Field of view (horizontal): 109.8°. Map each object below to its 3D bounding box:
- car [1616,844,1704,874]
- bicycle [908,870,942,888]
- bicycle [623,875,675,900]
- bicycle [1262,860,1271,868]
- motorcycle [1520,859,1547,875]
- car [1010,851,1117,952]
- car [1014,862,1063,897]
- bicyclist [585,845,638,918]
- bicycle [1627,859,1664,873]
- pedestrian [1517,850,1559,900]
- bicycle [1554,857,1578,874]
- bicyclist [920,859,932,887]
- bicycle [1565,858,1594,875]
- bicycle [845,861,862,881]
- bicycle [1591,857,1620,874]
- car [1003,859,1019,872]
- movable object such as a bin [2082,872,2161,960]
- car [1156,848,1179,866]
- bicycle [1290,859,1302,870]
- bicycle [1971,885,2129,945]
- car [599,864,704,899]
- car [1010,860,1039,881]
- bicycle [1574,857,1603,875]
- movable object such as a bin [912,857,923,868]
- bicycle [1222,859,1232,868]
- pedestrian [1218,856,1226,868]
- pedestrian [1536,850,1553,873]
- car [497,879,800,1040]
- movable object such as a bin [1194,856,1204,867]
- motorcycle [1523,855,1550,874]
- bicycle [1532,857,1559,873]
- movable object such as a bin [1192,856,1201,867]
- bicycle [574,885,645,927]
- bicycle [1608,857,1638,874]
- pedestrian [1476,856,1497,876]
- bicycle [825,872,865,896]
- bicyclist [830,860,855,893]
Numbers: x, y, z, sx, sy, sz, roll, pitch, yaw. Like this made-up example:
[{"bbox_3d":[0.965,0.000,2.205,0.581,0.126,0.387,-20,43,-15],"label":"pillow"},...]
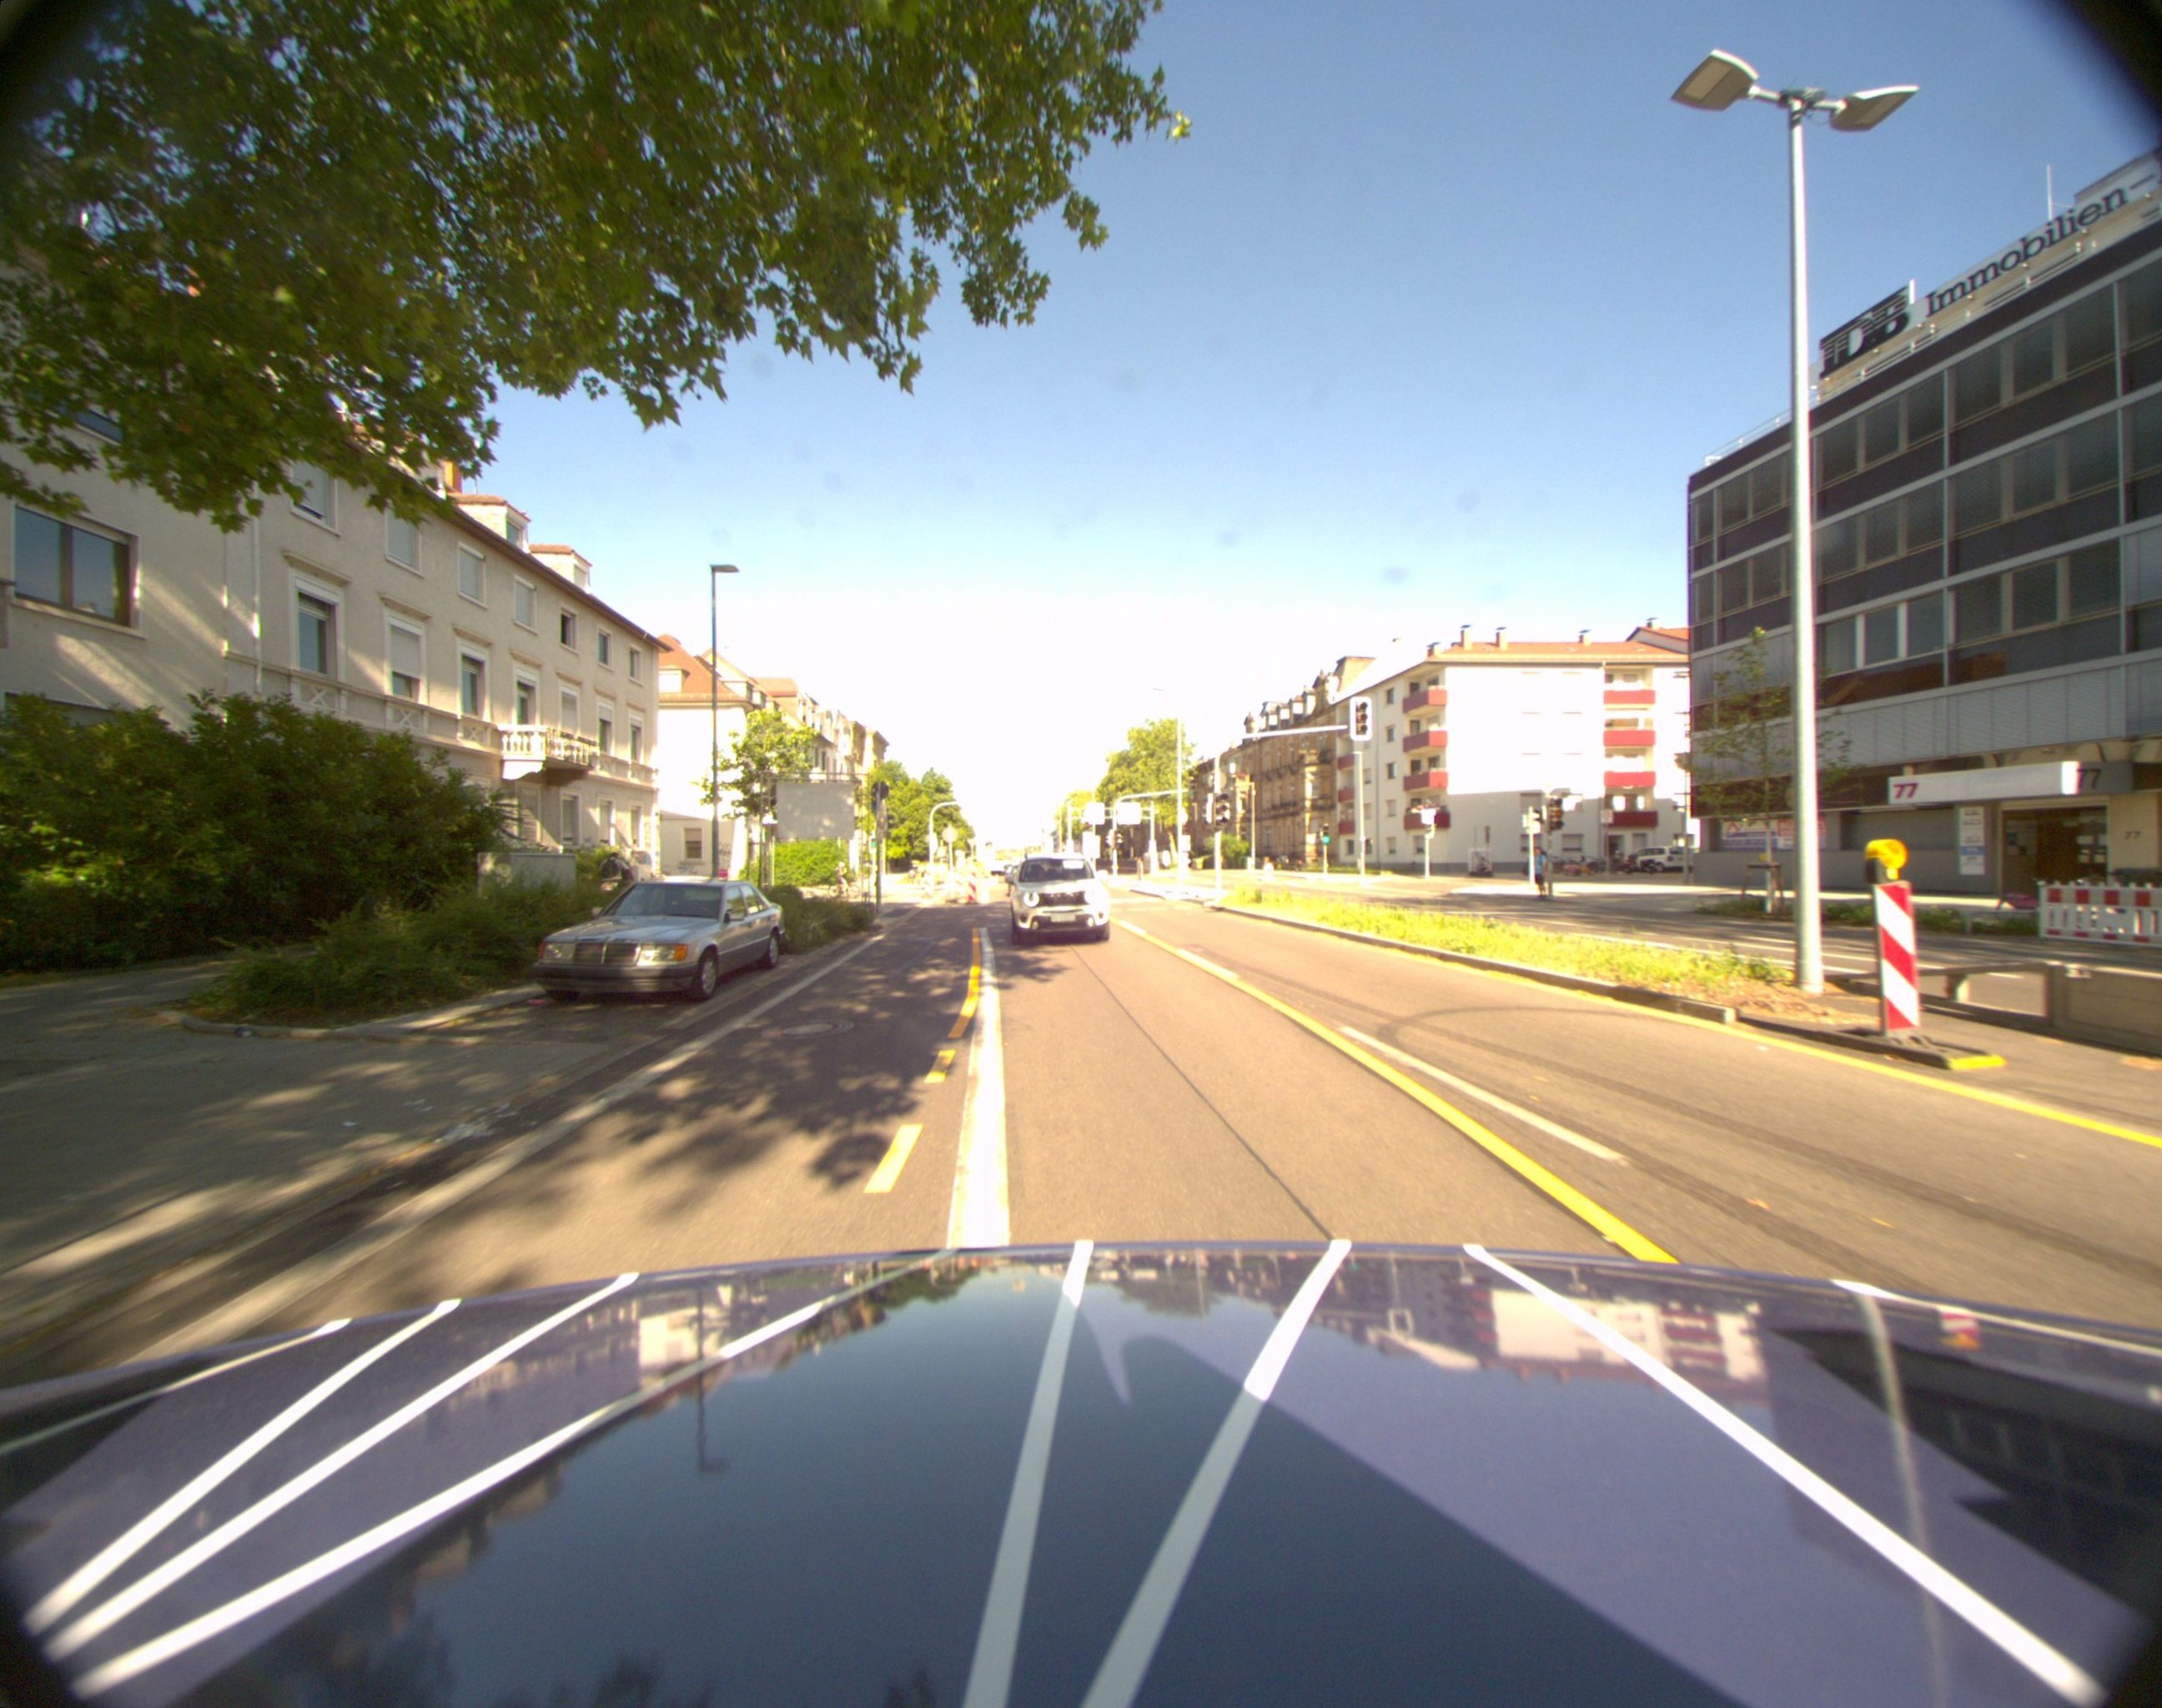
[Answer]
[{"bbox_3d":[35.404,0.282,46.616,1.998,1.721,4.479,-1,0,0],"label":"car"},{"bbox_3d":[-9.670,1.541,47.146,1.968,1.019,0.604,-2,0,-7],"label":"bicycle"},{"bbox_3d":[-19.932,1.548,35.064,2.002,1.074,0.579,-1,0,-4],"label":"bicycle"},{"bbox_3d":[17.790,0.944,72.879,0.300,0.766,1.413,-1,0,-5],"label":"bicycle"},{"bbox_3d":[26.829,0.751,45.098,0.504,0.931,1.842,-1,0,1],"label":"motorcycle"},{"bbox_3d":[-0.430,0.860,14.911,1.744,1.647,3.689,-3,-1,-4],"label":"car"},{"bbox_3d":[-2.022,1.115,34.857,1.999,1.426,4.871,-1,0,-6],"label":"car"},{"bbox_3d":[-12.130,0.689,19.659,0.726,1.810,1.070,-1,0,-5],"label":"bicyclist"},{"bbox_3d":[33.018,0.699,44.483,0.415,0.809,1.719,-1,0,-29],"label":"bicycle"},{"bbox_3d":[15.946,0.722,26.537,0.867,1.700,1.012,-1,0,1],"label":"pedestrian"},{"bbox_3d":[28.522,0.677,44.741,0.507,0.972,1.886,-1,0,10],"label":"bicycle"},{"bbox_3d":[-9.616,1.191,47.097,0.605,1.698,0.858,-1,0,-6],"label":"bicyclist"},{"bbox_3d":[29.126,0.724,44.395,0.478,0.942,1.952,-1,0,3],"label":"bicycle"},{"bbox_3d":[-16.425,1.213,54.871,0.710,1.435,2.490,-2,0,-7],"label":"bicycle"},{"bbox_3d":[31.065,0.680,45.050,0.510,0.997,1.736,-1,0,-1],"label":"bicycle"},{"bbox_3d":[-9.683,1.593,104.772,2.000,1.760,3.998,-2,-1,-7],"label":"car"},{"bbox_3d":[17.966,1.011,12.281,1.117,1.380,1.855,-1,0,-4],"label":"movable object such as a bin"},{"bbox_3d":[12.233,0.493,107.652,2.251,2.431,5.285,1,-2,-5],"label":"car"},{"bbox_3d":[18.545,0.896,65.518,0.305,0.952,1.939,-1,0,-6],"label":"bicycle"},{"bbox_3d":[18.946,1.161,14.933,0.628,1.031,1.878,-1,0,-5],"label":"bicycle"},{"bbox_3d":[-22.172,1.396,39.326,4.261,1.609,1.984,-2,1,-1],"label":"car"},{"bbox_3d":[-4.179,1.154,55.489,1.999,1.426,4.871,-1,0,-6],"label":"car"},{"bbox_3d":[29.997,0.692,44.934,0.490,1.062,1.736,-1,0,-4],"label":"bicycle"},{"bbox_3d":[-21.915,1.181,101.813,0.975,1.389,1.285,2,-1,-29],"label":"movable object such as a bin"},{"bbox_3d":[16.323,1.049,84.972,0.468,0.999,2.249,-2,-1,-8],"label":"bicycle"},{"bbox_3d":[15.796,0.880,85.289,0.568,1.369,1.089,-1,0,-8],"label":"pedestrian"},{"bbox_3d":[30.192,0.465,49.497,0.601,1.488,0.694,-1,0,-3],"label":"pedestrian"},{"bbox_3d":[-5.413,1.171,10.419,1.858,1.471,4.938,-1,0,-8],"label":"car"},{"bbox_3d":[14.676,0.974,94.589,0.895,1.352,1.473,1,-1,-5],"label":"movable object such as a bin"},{"bbox_3d":[27.793,0.622,46.367,0.613,1.135,1.784,-1,0,3],"label":"motorcycle"},{"bbox_3d":[29.086,0.672,47.634,0.576,0.963,1.736,-1,0,-1],"label":"bicycle"},{"bbox_3d":[14.593,0.999,95.980,0.895,1.354,1.314,1,-1,-7],"label":"movable object such as a bin"},{"bbox_3d":[-12.149,1.317,19.661,0.784,0.960,1.822,-1,0,-4],"label":"bicycle"},{"bbox_3d":[31.929,0.682,44.809,0.460,0.942,1.723,-1,0,-4],"label":"bicycle"},{"bbox_3d":[23.911,0.718,44.842,0.720,1.146,0.787,-1,0,-18],"label":"pedestrian"},{"bbox_3d":[-11.174,1.400,36.020,0.689,1.091,1.691,-1,-1,40],"label":"bicycle"},{"bbox_3d":[-11.273,1.058,35.928,0.724,1.491,0.873,0,1,42],"label":"bicyclist"}]
